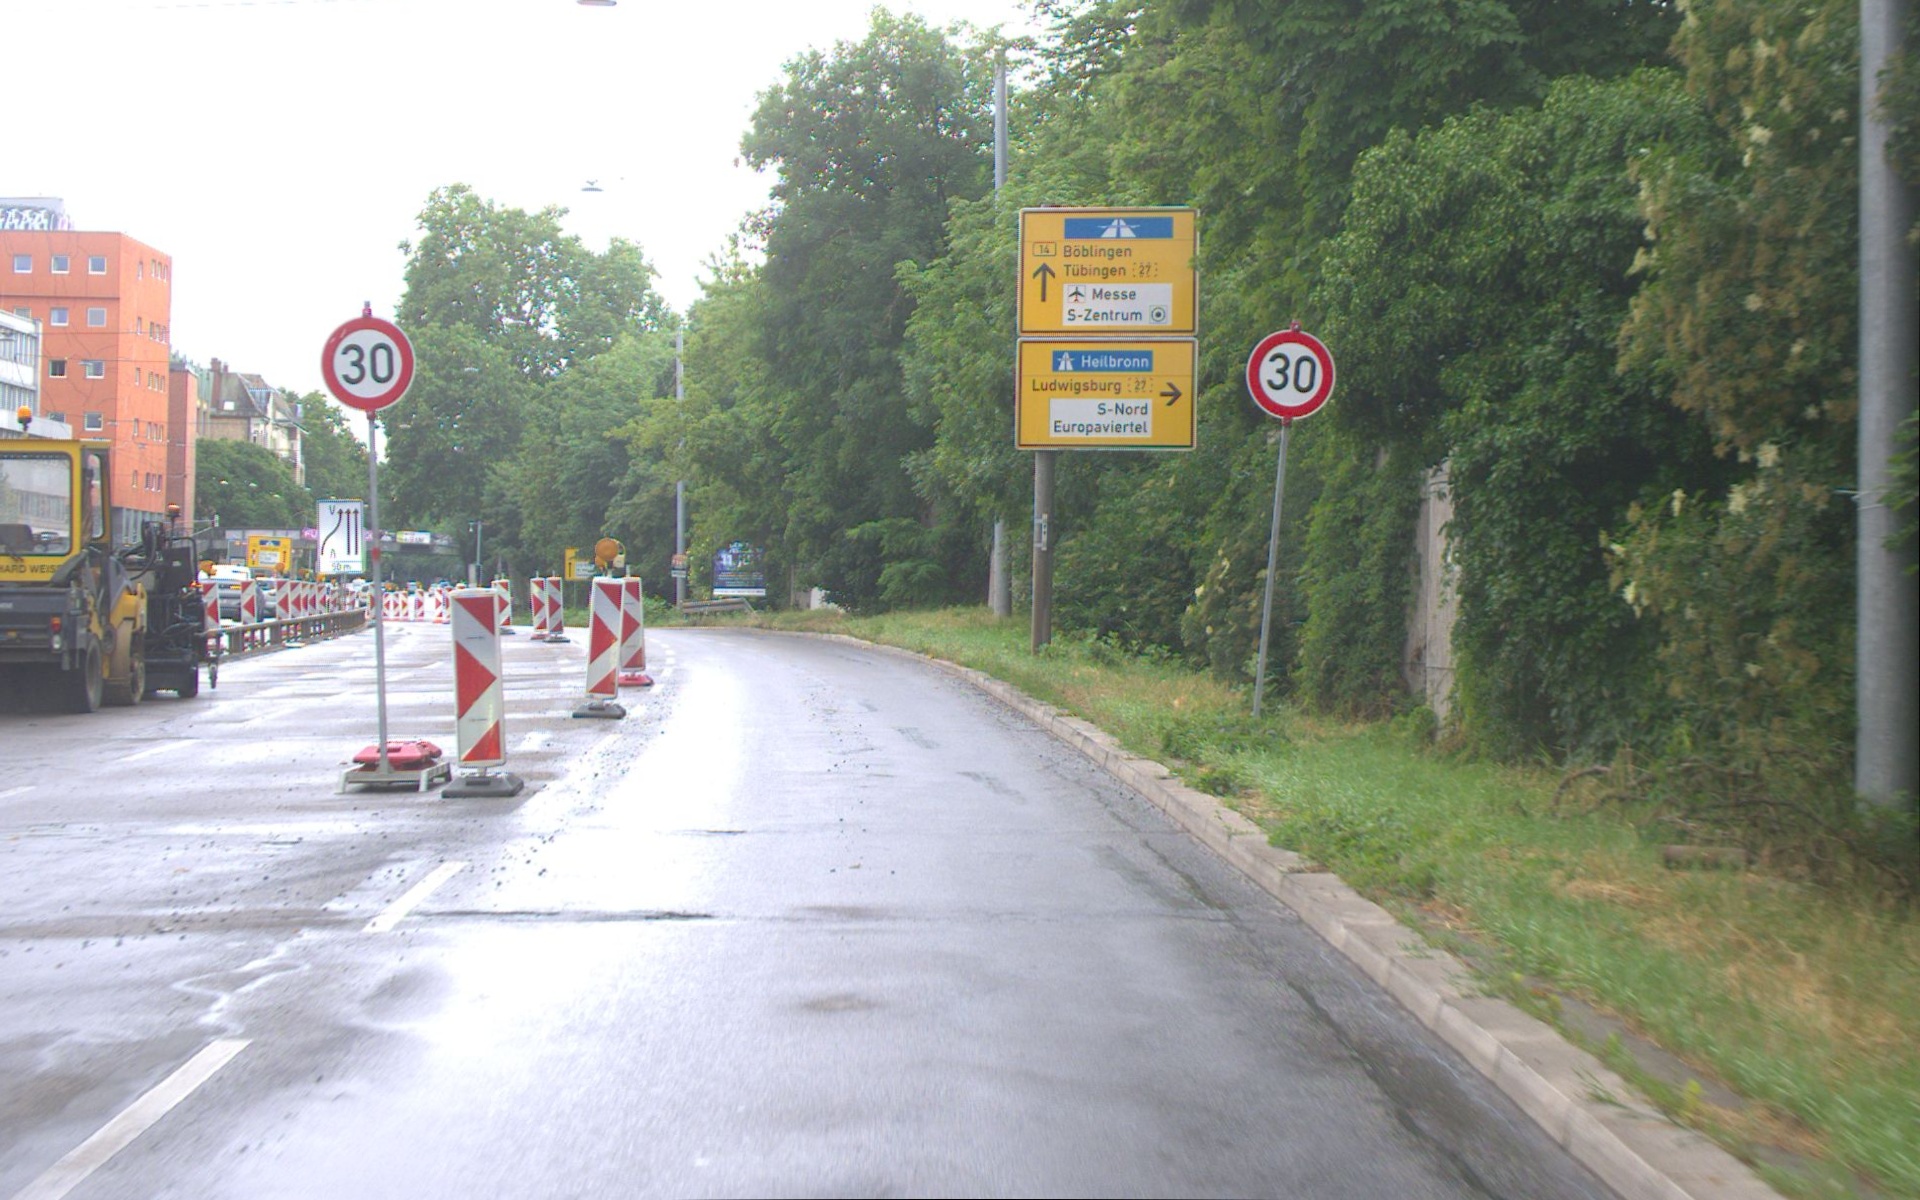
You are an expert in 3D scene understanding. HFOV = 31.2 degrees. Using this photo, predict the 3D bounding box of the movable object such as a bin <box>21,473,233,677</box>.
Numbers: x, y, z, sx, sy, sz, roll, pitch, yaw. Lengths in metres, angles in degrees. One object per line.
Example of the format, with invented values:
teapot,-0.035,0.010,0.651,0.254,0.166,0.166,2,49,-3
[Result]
movable object such as a bin,-9.155,-0.294,38.000,1.715,2.142,3.350,-1,1,-4

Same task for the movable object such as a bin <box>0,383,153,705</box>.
movable object such as a bin,-9.072,-0.550,33.856,1.465,2.998,3.725,-1,1,-2

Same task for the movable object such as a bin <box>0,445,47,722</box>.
movable object such as a bin,-9.050,-0.148,30.415,1.410,2.393,2.406,-1,1,-4
